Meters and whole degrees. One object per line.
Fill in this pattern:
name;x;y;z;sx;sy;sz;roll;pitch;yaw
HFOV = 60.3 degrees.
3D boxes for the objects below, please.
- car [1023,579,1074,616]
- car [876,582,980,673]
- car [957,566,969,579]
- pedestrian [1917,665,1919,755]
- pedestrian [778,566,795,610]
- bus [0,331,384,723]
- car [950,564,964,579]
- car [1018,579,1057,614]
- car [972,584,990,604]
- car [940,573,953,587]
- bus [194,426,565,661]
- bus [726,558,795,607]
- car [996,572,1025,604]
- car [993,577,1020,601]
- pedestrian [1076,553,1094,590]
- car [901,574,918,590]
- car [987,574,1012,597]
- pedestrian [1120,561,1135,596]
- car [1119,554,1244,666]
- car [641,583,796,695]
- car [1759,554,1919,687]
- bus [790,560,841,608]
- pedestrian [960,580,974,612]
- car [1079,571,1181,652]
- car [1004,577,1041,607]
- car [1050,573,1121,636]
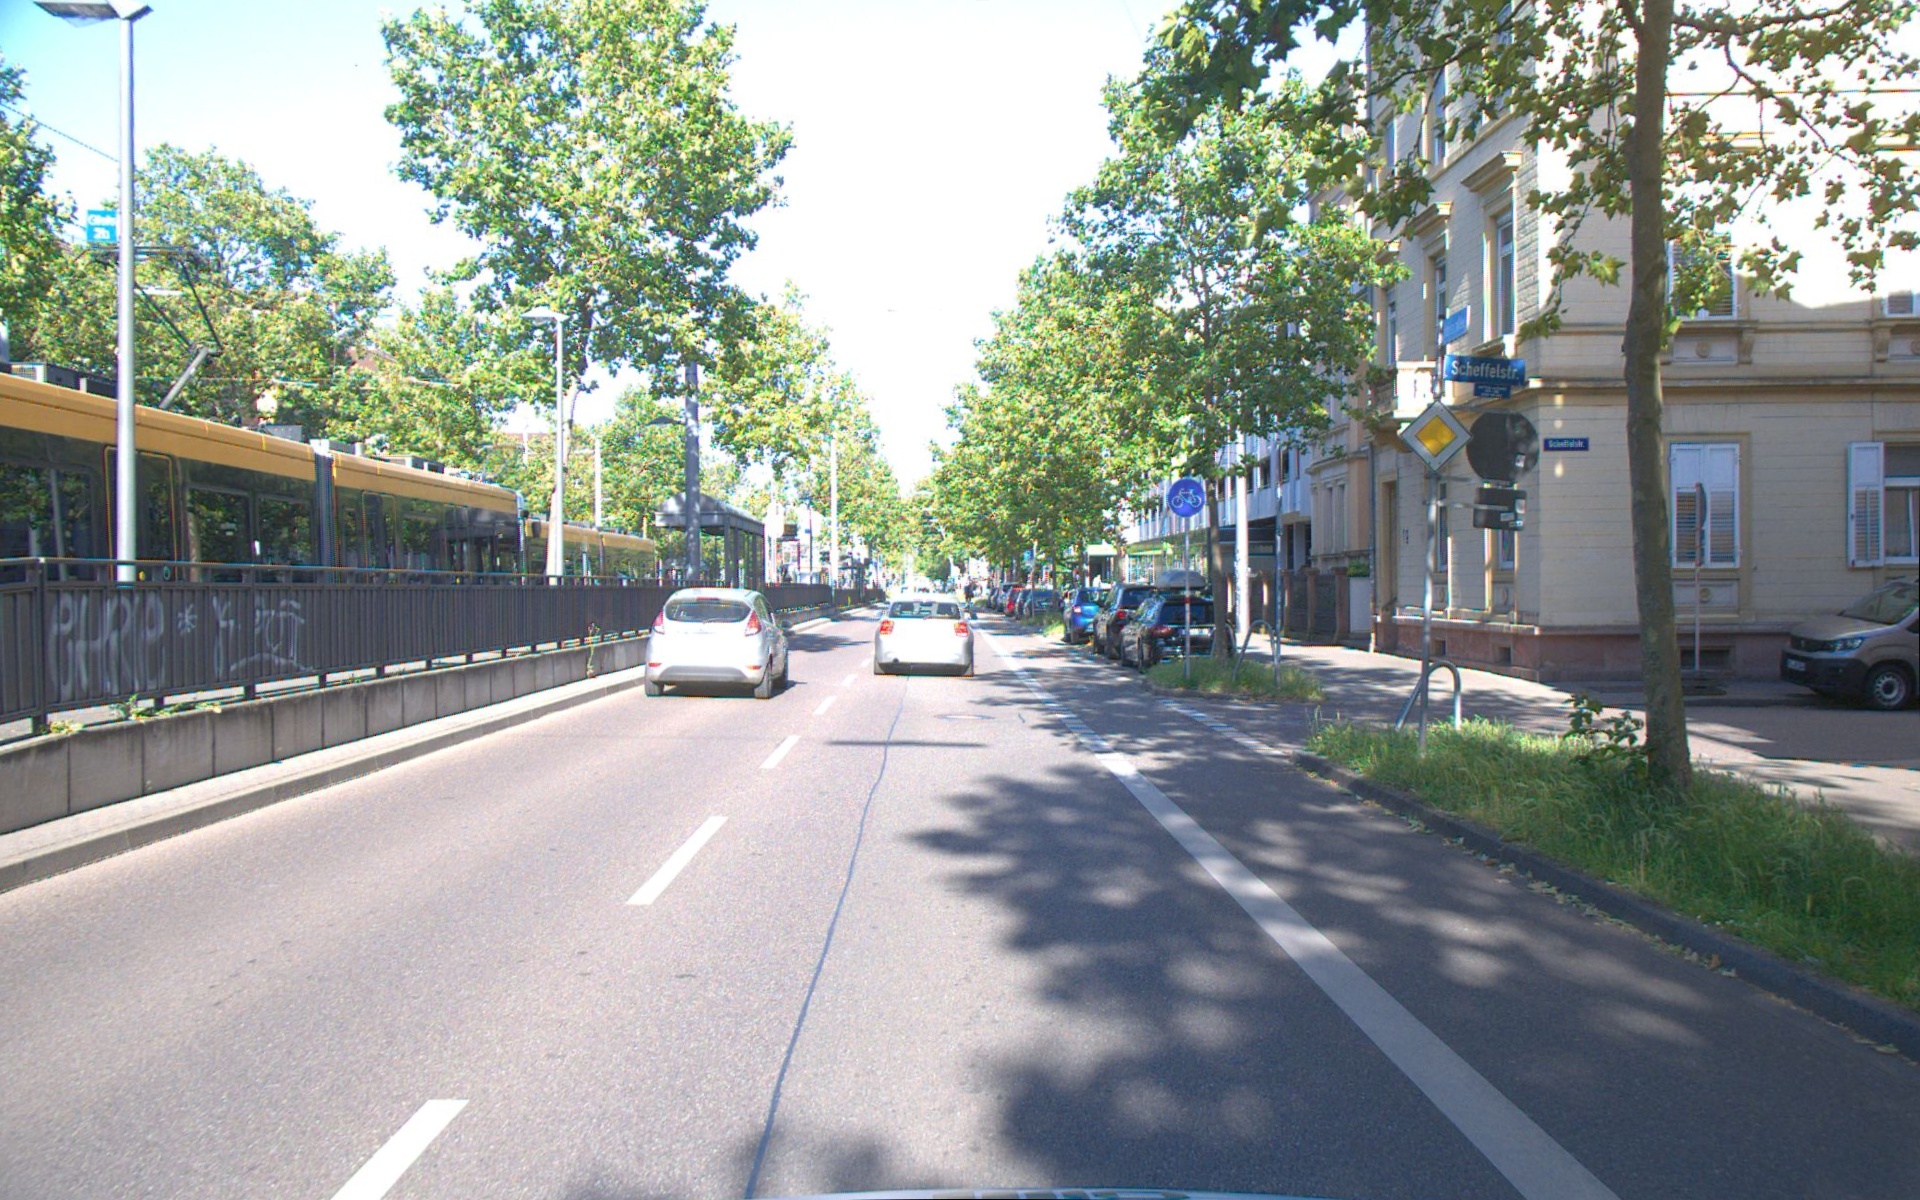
car;3.876;-0.091;73.402;1.953;1.535;4.597;1;0;-1
car;-0.587;0.439;29.911;1.726;1.457;3.999;1;1;-2
car;0.506;-4.304;260.948;1.837;2.048;3.711;1;1;-1
pedestrian;8.336;0.379;13.369;0.553;1.858;0.958;1;1;-4
pedestrian;-7.907;-0.541;75.364;0.626;1.988;0.813;1;1;-1
bus;-10.007;-0.702;18.665;2.810;3.504;12.214;0;1;0
car;-0.470;-4.155;237.904;1.953;2.049;3.999;0;0;-1
car;3.659;-0.185;78.744;1.635;1.578;4.000;1;1;-1
car;2.304;-0.663;181.832;1.953;2.048;4.000;1;1;-1
car;-2.036;-3.017;250.144;2.029;2.049;4.000;0;1;-1
bus;-10.073;-0.933;30.559;2.810;3.504;11.610;0;1;0
bus;-16.141;-1.476;135.930;2.810;3.691;24.602;0;1;0
car;3.172;-0.751;104.467;1.689;1.913;4.000;1;0;-1
car;3.192;-0.751;114.128;1.676;1.590;4.000;1;1;-1
pedestrian;6.998;-1.600;92.516;0.944;2.049;0.938;0;1;-1
car;-6.524;-2.341;214.018;1.953;2.048;4.000;1;1;-1
car;2.877;-1.075;120.707;1.666;1.561;3.716;1;1;-1
pedestrian;9.832;-1.244;96.939;0.772;2.049;0.891;0;0;0
car;4.176;0.135;31.846;1.719;1.999;4.737;0;1;-1
car;-3.309;0.482;23.243;1.613;1.386;3.760;1;1;0
car;14.030;0.263;23.424;4.487;1.804;1.922;0;1;2
bus;-11.708;-1.368;135.798;2.694;3.689;18.846;0;1;0
pedestrian;0.469;-0.285;107.253;0.820;2.048;0.649;1;1;6
car;3.809;0.205;37.771;1.761;1.729;4.737;0;1;-1
car;3.316;-0.406;88.819;1.769;1.547;3.999;1;0;-1
car;3.551;0.084;47.406;1.657;1.687;4.039;-1;1;-1
